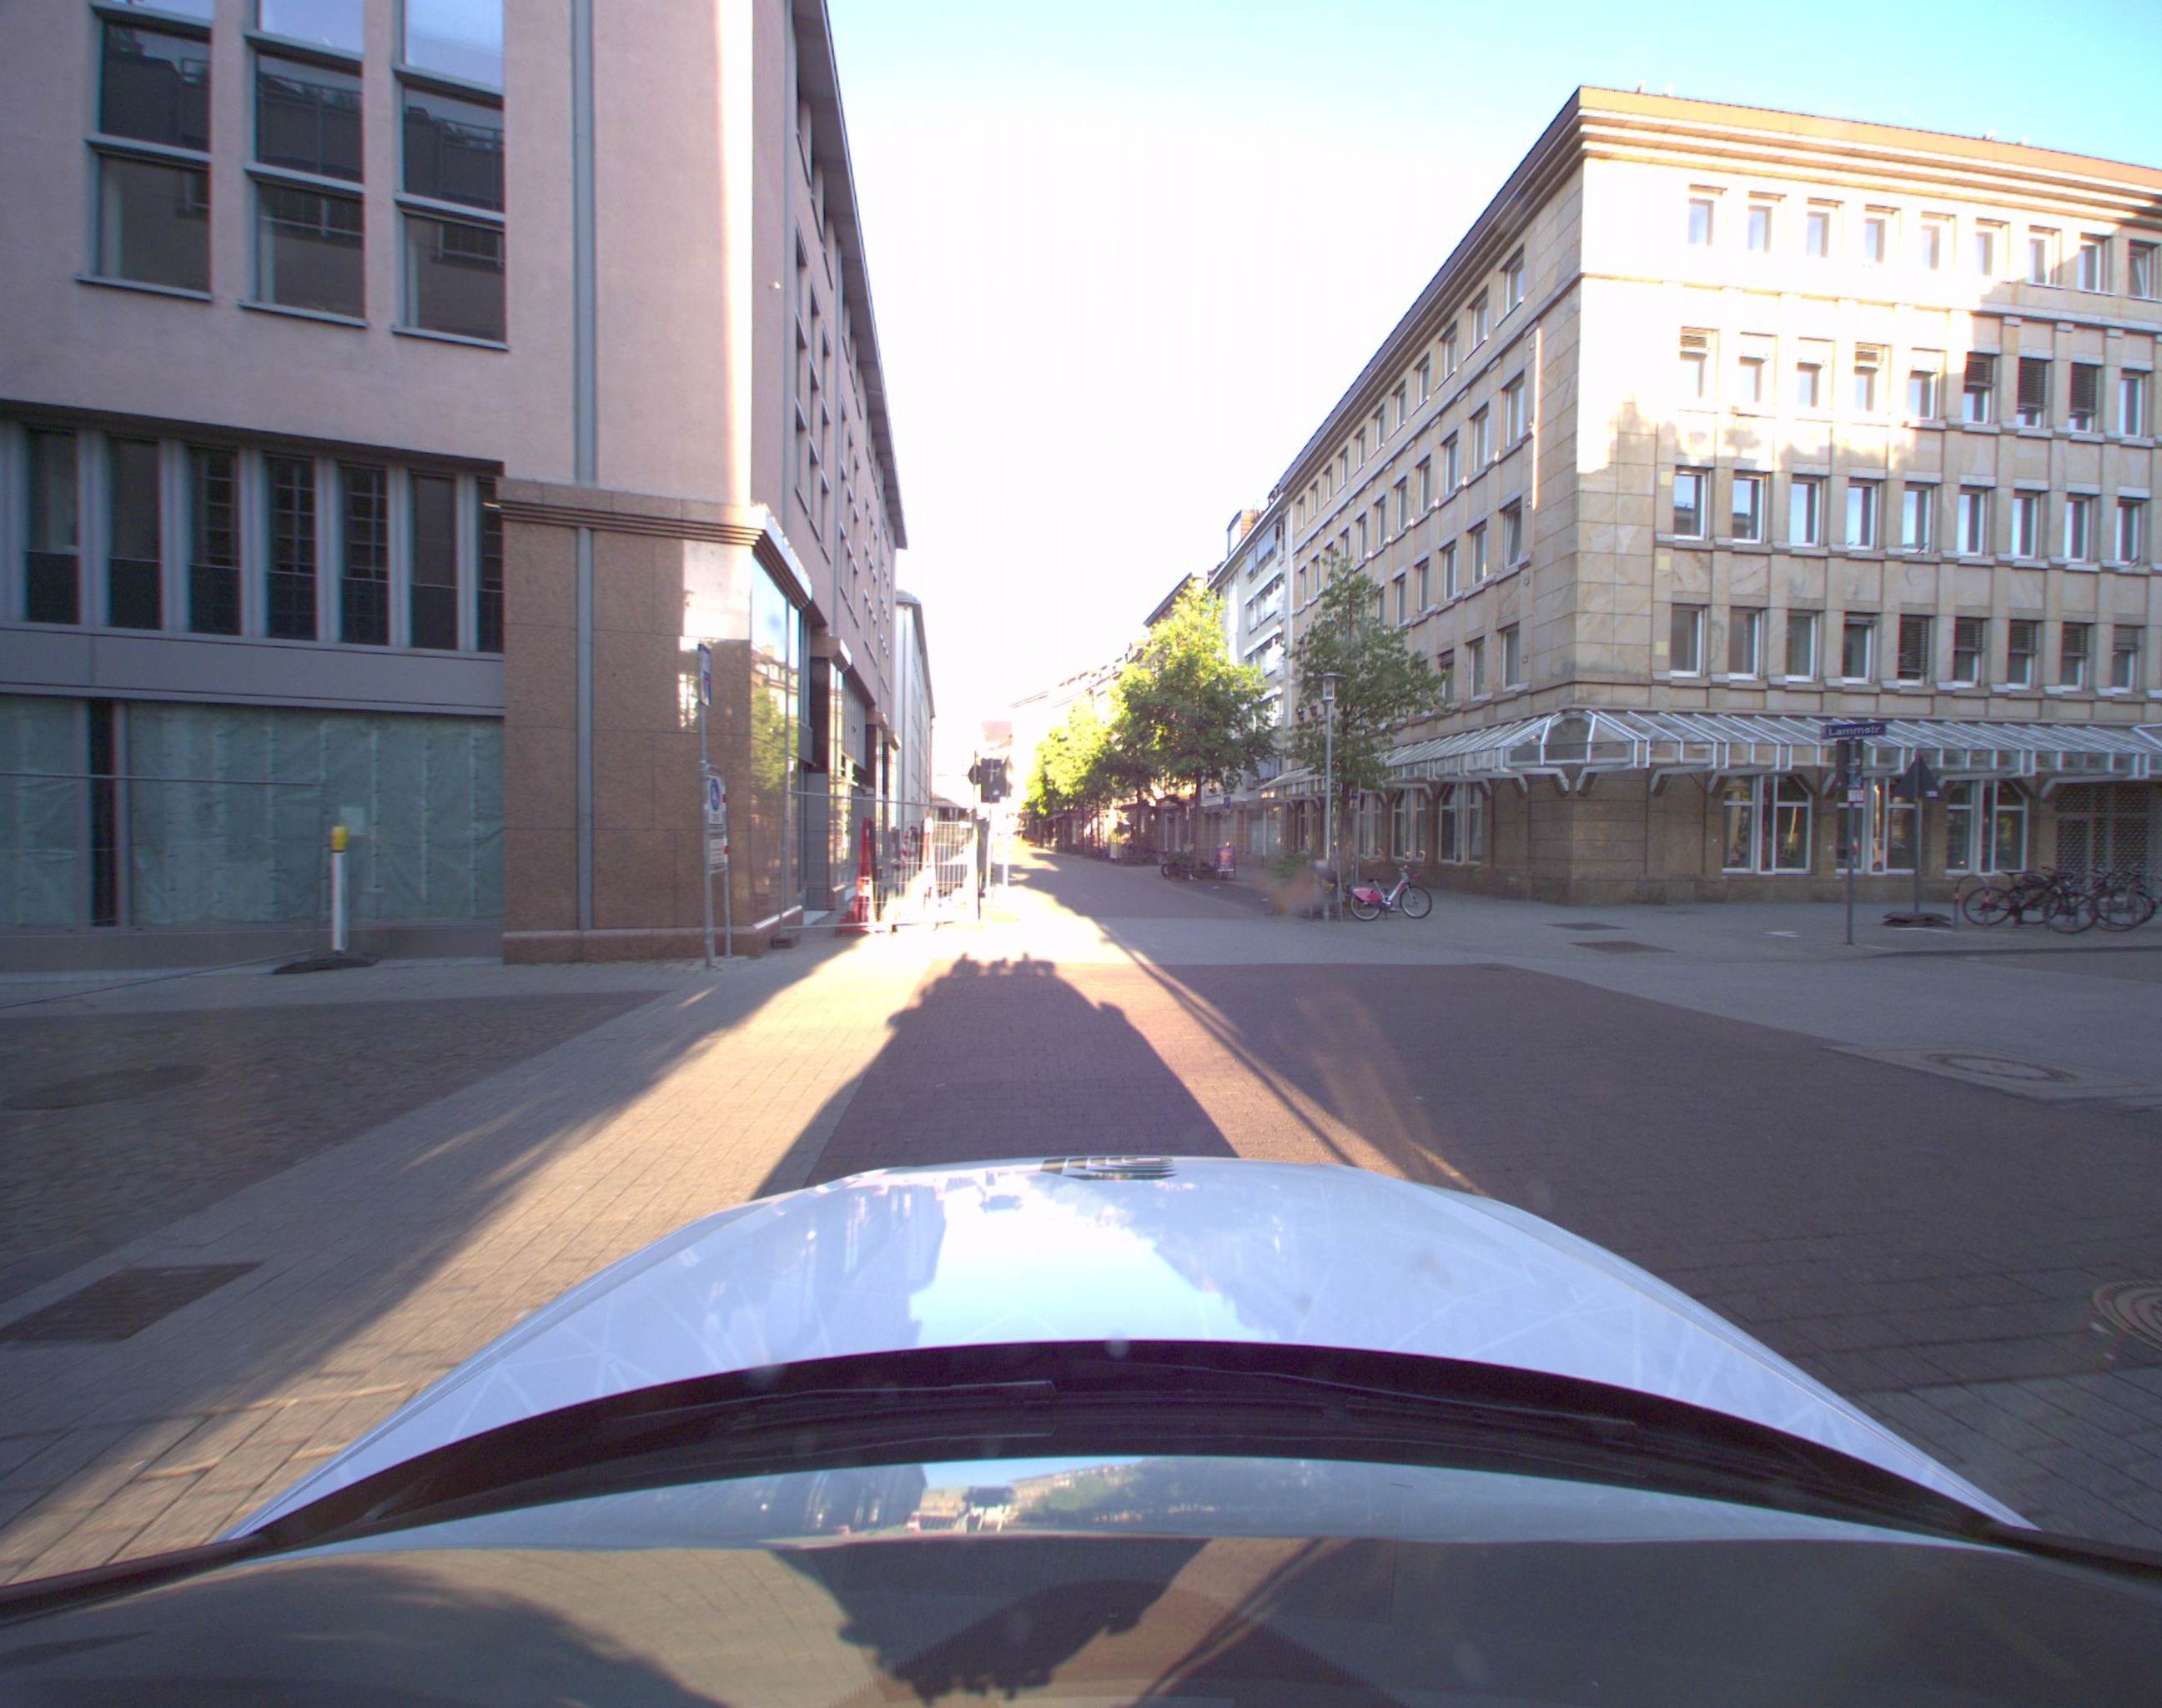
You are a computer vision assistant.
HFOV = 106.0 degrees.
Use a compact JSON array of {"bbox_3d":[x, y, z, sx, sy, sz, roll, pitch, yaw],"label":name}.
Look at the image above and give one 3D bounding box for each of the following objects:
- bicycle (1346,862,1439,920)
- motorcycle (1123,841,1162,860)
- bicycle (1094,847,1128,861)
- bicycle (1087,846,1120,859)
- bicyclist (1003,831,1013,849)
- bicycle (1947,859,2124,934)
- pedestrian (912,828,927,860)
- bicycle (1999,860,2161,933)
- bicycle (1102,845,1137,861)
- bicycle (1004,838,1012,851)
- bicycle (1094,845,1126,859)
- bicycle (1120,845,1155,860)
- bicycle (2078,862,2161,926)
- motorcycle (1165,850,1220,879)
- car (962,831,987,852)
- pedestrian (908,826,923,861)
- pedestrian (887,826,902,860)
[{"bbox_3d":[6.215,0.734,16.313,1.645,1.050,0.665,-2,2,11],"label":"bicycle"},{"bbox_3d":[3.709,-0.230,49.074,2.486,1.095,0.585,0,0,-29],"label":"motorcycle"},{"bbox_3d":[2.005,-0.023,54.160,2.156,0.926,0.588,0,0,-14],"label":"bicycle"},{"bbox_3d":[1.545,-0.099,56.207,2.156,0.926,0.588,0,0,-14],"label":"bicycle"},{"bbox_3d":[-5.951,-1.117,66.306,0.721,1.468,0.716,0,1,-8],"label":"bicyclist"},{"bbox_3d":[15.902,0.664,13.657,0.541,1.050,1.946,0,3,-5],"label":"bicycle"},{"bbox_3d":[-8.343,-0.540,42.112,0.652,1.651,0.633,0,1,-2],"label":"pedestrian"},{"bbox_3d":[17.101,0.677,13.898,0.541,1.050,1.947,0,3,-3],"label":"bicycle"},{"bbox_3d":[2.461,-0.066,51.946,2.141,1.061,0.592,0,0,7],"label":"bicycle"},{"bbox_3d":[-5.978,-0.781,66.348,0.588,1.095,2.155,0,1,-7],"label":"bicycle"},{"bbox_3d":[1.970,-0.147,55.384,2.156,0.926,0.588,0,0,-14],"label":"bicycle"},{"bbox_3d":[3.481,-0.096,50.113,2.161,0.926,0.586,0,0,-22],"label":"bicycle"},{"bbox_3d":[18.528,0.693,13.890,0.511,1.028,1.944,0,2,-7],"label":"bicycle"},{"bbox_3d":[4.466,0.406,32.602,2.152,1.151,0.492,0,0,-10],"label":"motorcycle"},{"bbox_3d":[-8.809,-1.032,67.087,1.843,1.683,3.631,0,1,-11],"label":"car"},{"bbox_3d":[-8.421,-0.528,41.552,0.652,1.763,0.633,0,1,-2],"label":"pedestrian"},{"bbox_3d":[-9.514,-0.579,41.528,0.652,1.725,0.633,0,1,-2],"label":"pedestrian"}]
